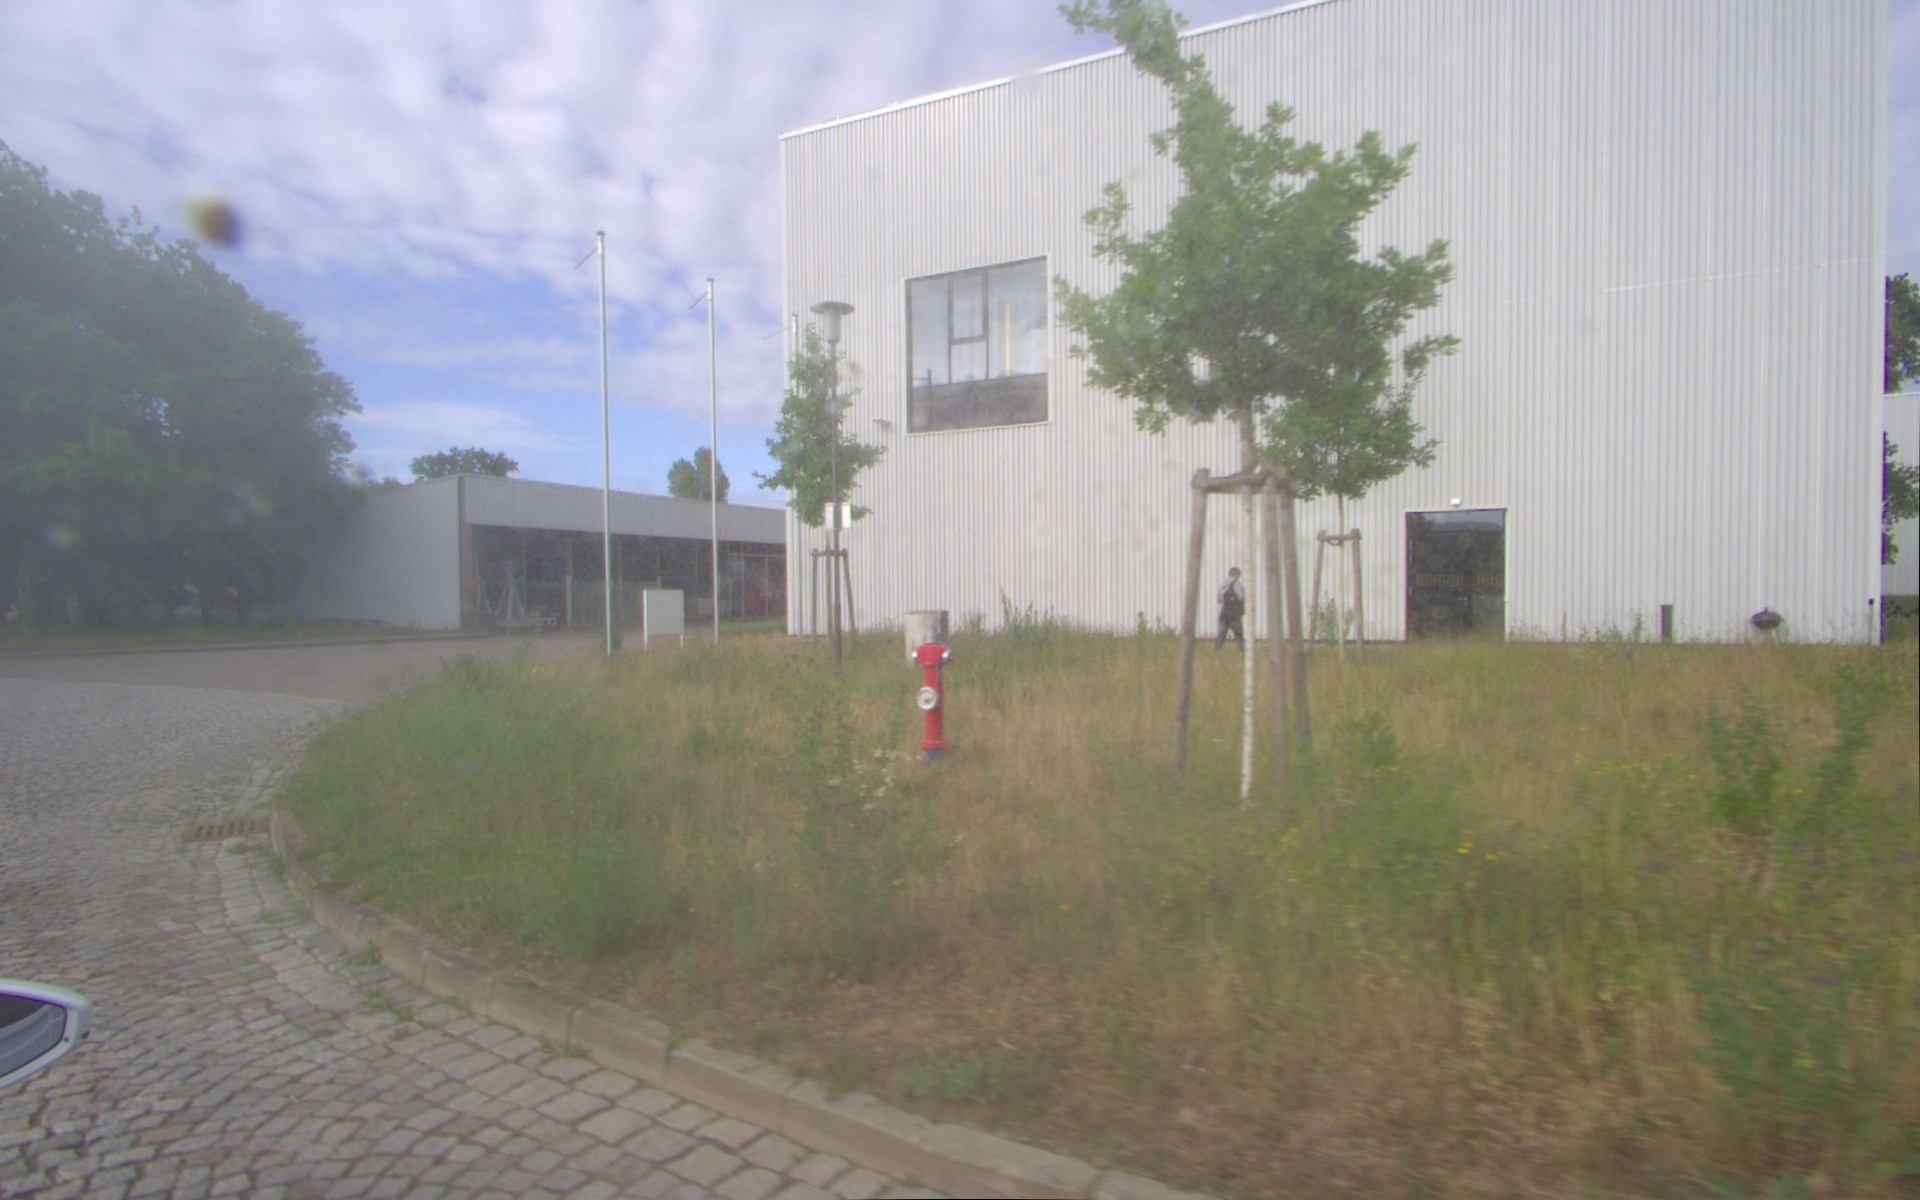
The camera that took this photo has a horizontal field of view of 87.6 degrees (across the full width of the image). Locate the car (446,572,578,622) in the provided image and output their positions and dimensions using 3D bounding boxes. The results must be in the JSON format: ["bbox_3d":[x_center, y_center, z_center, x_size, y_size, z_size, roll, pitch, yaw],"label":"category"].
[{"bbox_3d":[-19.129,-0.125,42.707,5.249,2.041,2.240,0,1,25],"label":"car"}]

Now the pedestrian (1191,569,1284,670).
[{"bbox_3d":[4.553,0.296,16.451,1.067,1.577,1.066,-2,2,-40],"label":"pedestrian"}]
